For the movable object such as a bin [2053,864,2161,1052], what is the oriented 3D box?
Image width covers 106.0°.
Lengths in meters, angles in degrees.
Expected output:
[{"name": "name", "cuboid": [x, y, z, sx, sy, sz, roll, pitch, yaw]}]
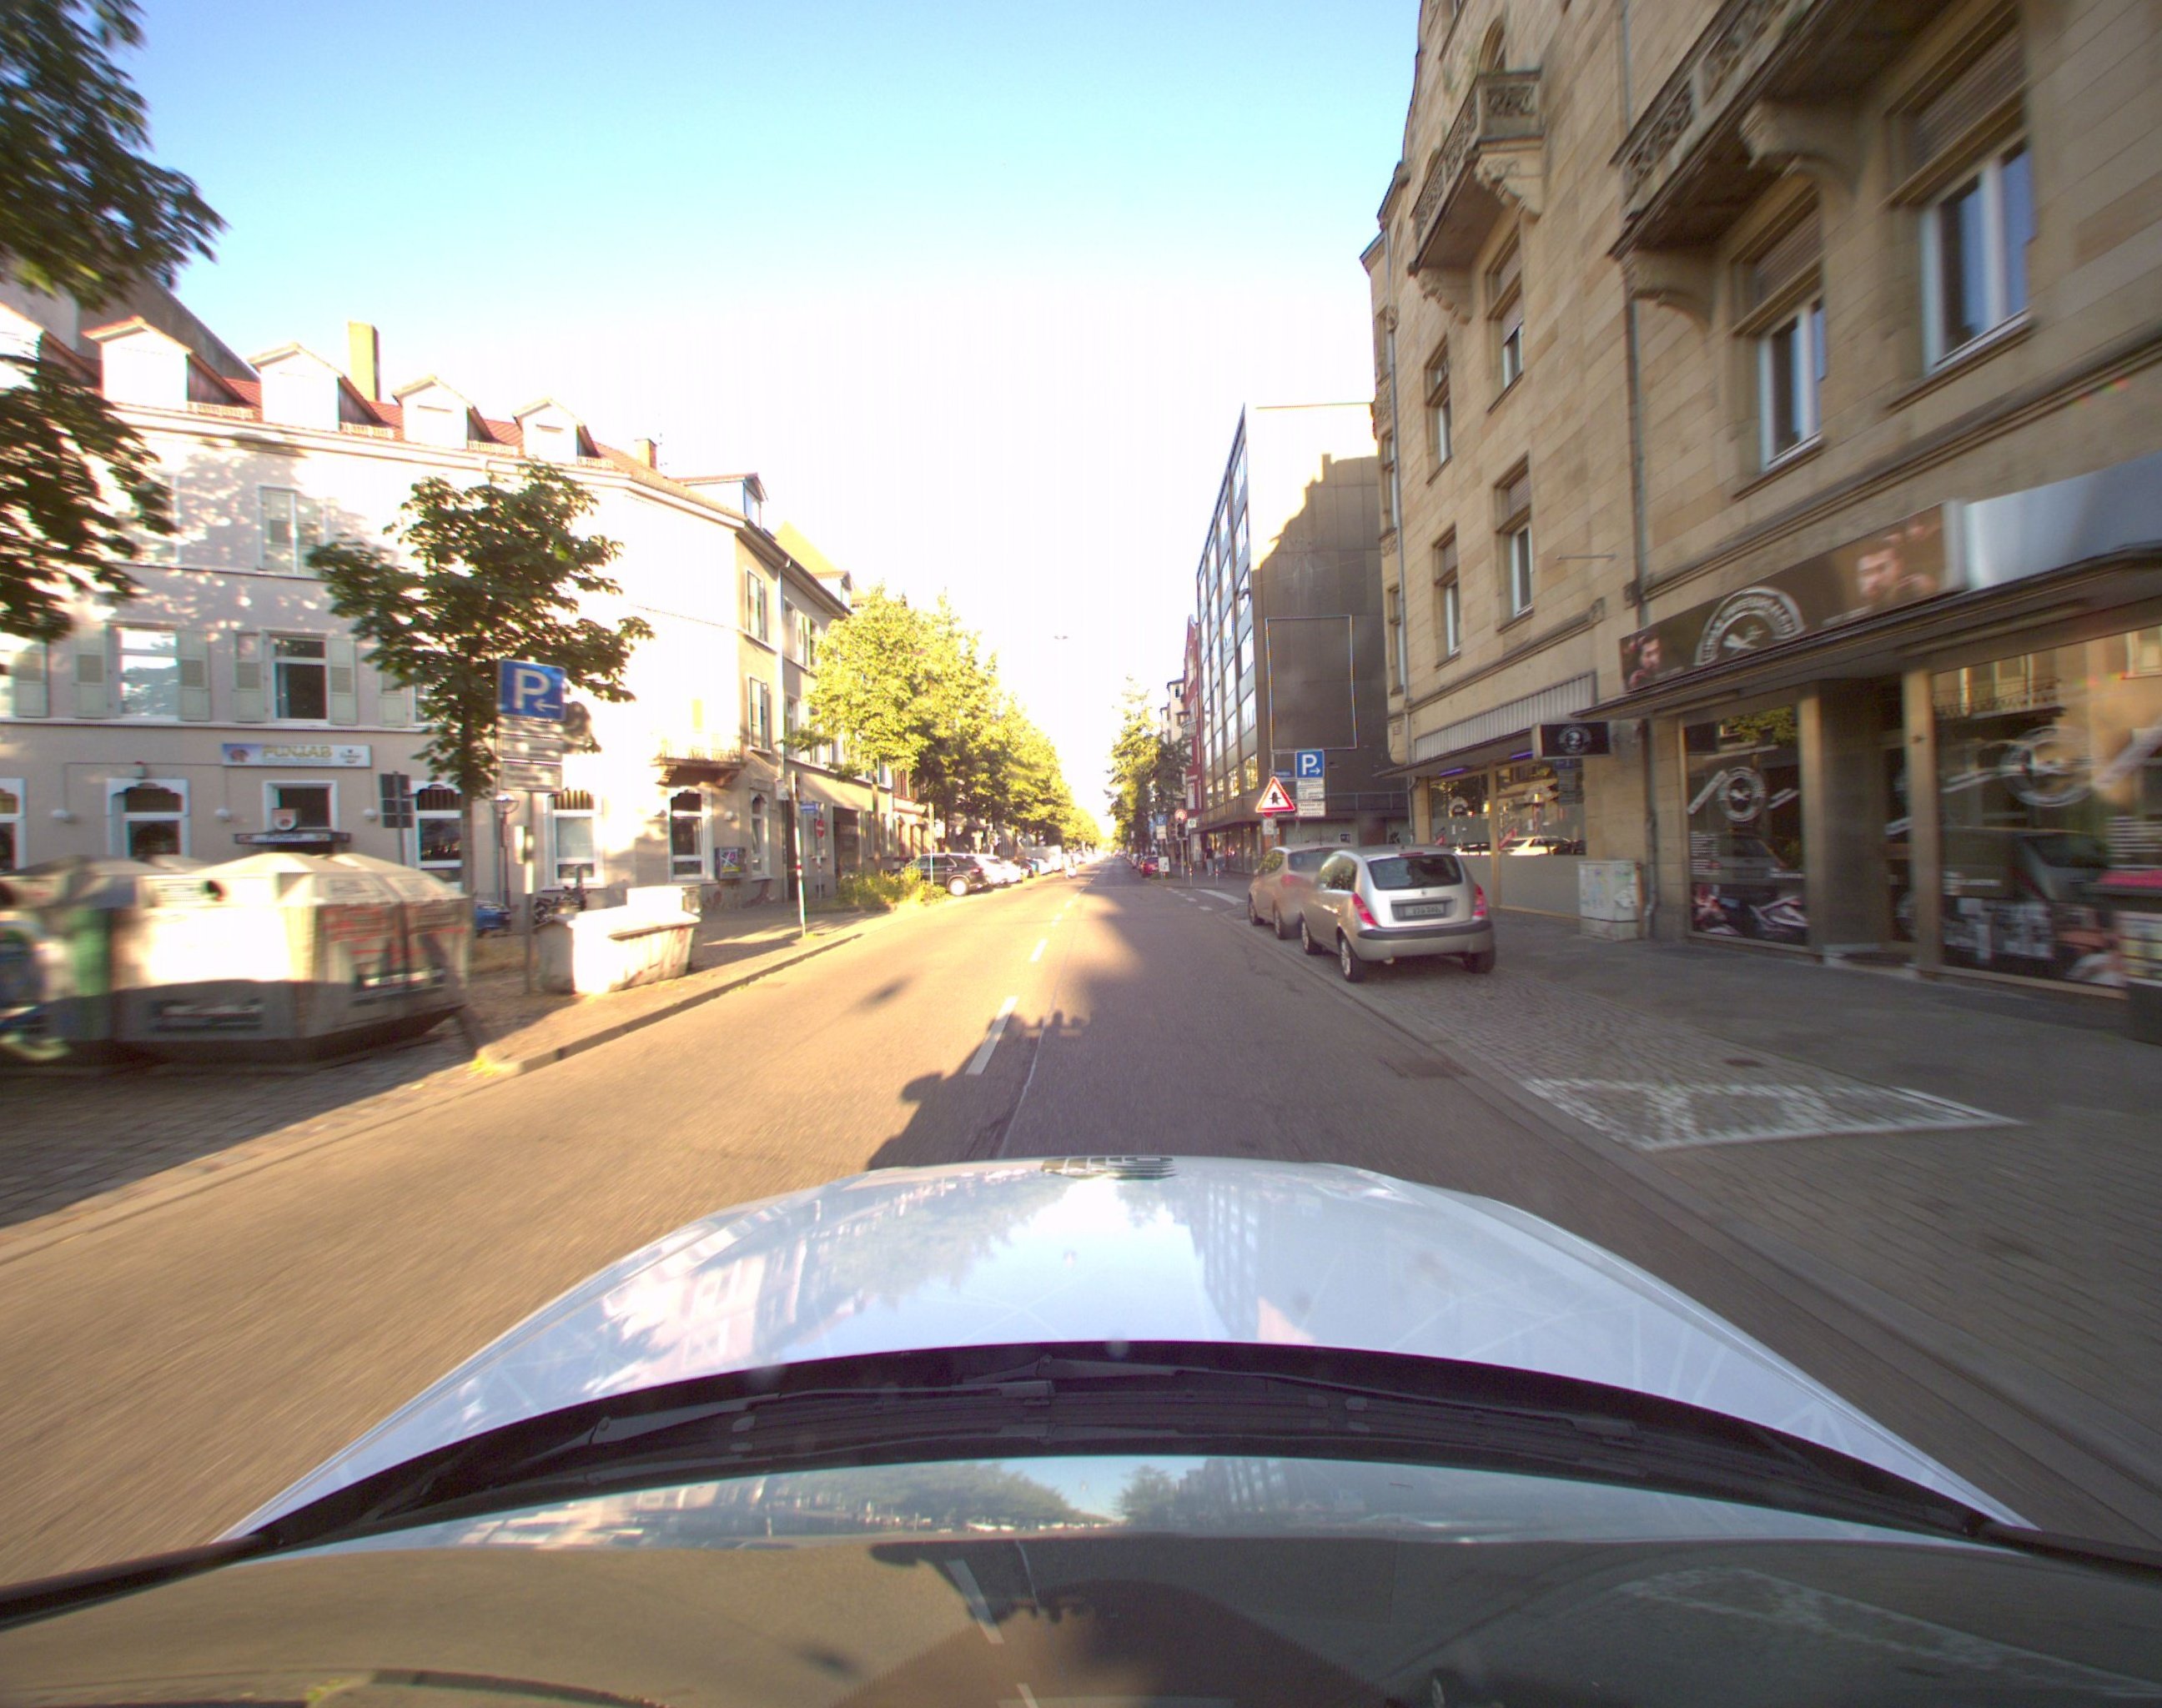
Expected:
[{"name": "movable object such as a bin", "cuboid": [6.647, 0.613, 4.989, 0.593, 1.085, 0.664, -1, 0, 3]}]

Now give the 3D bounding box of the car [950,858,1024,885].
[{"name": "car", "cuboid": [-5.646, 1.043, 49.296, 4.159, 1.507, 2.001, -1, 0, 1]}]

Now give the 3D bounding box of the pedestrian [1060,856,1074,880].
[{"name": "pedestrian", "cuboid": [-0.958, 0.976, 56.455, 0.720, 1.673, 0.702, -1, 0, -38]}]

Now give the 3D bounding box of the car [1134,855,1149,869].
[{"name": "car", "cuboid": [5.870, 0.752, 79.151, 1.202, 1.300, 2.660, -1, -1, 0]}]

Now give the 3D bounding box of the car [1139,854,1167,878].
[{"name": "car", "cuboid": [5.042, 0.838, 57.522, 1.572, 1.542, 3.396, -4, -1, 0]}]

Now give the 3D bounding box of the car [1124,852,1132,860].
[{"name": "car", "cuboid": [9.346, 0.367, 161.538, 1.305, 1.600, 2.660, -1, -1, 0]}]

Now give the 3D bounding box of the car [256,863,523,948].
[{"name": "car", "cuboid": [-16.248, 1.140, 19.486, 4.438, 1.677, 1.945, -2, 1, -24]}]

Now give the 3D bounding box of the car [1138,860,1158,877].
[{"name": "car", "cuboid": [5.281, 1.134, 64.442, 1.300, 1.293, 3.013, -2, -1, 0]}]

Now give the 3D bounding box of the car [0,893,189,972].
[{"name": "car", "cuboid": [-21.555, 1.622, 16.858, 3.838, 1.411, 1.531, -1, 0, -21]}]

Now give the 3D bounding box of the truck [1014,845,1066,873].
[{"name": "truck", "cuboid": [-4.030, 0.481, 80.669, 4.922, 2.615, 2.001, -2, 0, 1]}]

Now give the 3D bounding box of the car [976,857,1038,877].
[{"name": "car", "cuboid": [-5.587, 0.961, 61.682, 4.410, 1.503, 2.001, 0, 0, 1]}]

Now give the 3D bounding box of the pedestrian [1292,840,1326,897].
[{"name": "pedestrian", "cuboid": [7.237, 0.442, 25.920, 0.752, 1.767, 1.223, -1, 0, 1]}]

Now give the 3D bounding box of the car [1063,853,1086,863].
[{"name": "car", "cuboid": [-1.111, 0.643, 138.743, 3.725, 1.708, 2.001, -1, 0, 1]}]

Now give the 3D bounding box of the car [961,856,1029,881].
[{"name": "car", "cuboid": [-5.945, 0.972, 56.746, 4.410, 1.599, 2.001, -2, 0, 1]}]

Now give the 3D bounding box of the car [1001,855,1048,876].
[{"name": "car", "cuboid": [-4.753, 0.999, 69.236, 3.726, 1.596, 2.000, -2, -2, 1]}]

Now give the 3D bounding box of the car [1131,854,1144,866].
[{"name": "car", "cuboid": [6.206, 0.663, 89.658, 1.202, 1.300, 2.660, -1, -1, 0]}]

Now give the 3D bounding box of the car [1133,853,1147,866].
[{"name": "car", "cuboid": [5.963, 0.587, 82.287, 1.202, 1.300, 2.660, -1, -1, 0]}]

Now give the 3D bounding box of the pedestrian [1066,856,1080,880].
[{"name": "pedestrian", "cuboid": [-0.559, 0.973, 57.645, 0.727, 1.683, 0.749, 0, 0, -38]}]

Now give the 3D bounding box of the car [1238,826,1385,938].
[{"name": "car", "cuboid": [4.143, 0.438, 15.291, 1.690, 1.769, 4.002, -2, 0, 2]}]

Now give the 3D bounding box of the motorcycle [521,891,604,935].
[{"name": "motorcycle", "cuboid": [-13.294, 1.485, 20.885, 2.073, 1.031, 0.751, -1, 0, 23]}]

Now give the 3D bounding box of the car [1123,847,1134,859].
[{"name": "car", "cuboid": [6.720, -0.139, 115.779, 1.305, 1.600, 2.660, -1, -1, 0]}]

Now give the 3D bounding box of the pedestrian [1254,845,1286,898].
[{"name": "pedestrian", "cuboid": [6.076, 0.547, 26.209, 0.752, 1.640, 1.259, -1, 0, 1]}]

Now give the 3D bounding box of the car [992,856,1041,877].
[{"name": "car", "cuboid": [-5.218, 1.037, 66.500, 3.725, 1.642, 2.001, -1, 0, 1]}]

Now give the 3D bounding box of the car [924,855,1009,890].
[{"name": "car", "cuboid": [-5.729, 0.916, 41.152, 3.975, 1.708, 1.834, -1, 0, 1]}]

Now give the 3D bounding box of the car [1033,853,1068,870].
[{"name": "car", "cuboid": [-3.370, 0.872, 91.306, 3.725, 1.859, 2.001, -1, 0, 1]}]

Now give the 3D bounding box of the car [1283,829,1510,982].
[{"name": "car", "cuboid": [3.896, 0.539, 10.802, 1.672, 1.561, 4.005, -3, 0, 5]}]

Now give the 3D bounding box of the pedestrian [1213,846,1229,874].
[{"name": "pedestrian", "cuboid": [8.560, 0.345, 49.790, 0.763, 1.689, 0.786, -3, 0, 0]}]

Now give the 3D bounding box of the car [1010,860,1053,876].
[{"name": "car", "cuboid": [-4.506, 1.276, 74.282, 3.725, 1.450, 2.001, -1, 0, 1]}]

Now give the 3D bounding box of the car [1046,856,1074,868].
[{"name": "car", "cuboid": [-2.869, 1.117, 113.518, 3.725, 1.493, 2.001, -1, 0, 1]}]

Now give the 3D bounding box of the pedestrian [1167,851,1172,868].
[{"name": "pedestrian", "cuboid": [8.834, 0.550, 81.281, 0.531, 1.622, 0.534, -1, 0, 2]}]

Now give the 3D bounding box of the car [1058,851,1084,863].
[{"name": "car", "cuboid": [-1.526, 0.397, 120.973, 3.725, 1.708, 2.001, -1, 0, 1]}]

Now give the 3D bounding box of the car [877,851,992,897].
[{"name": "car", "cuboid": [-6.133, 0.833, 34.402, 4.432, 1.835, 2.034, -1, -2, 1]}]

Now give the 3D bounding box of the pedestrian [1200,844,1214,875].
[{"name": "pedestrian", "cuboid": [7.692, 0.330, 49.738, 0.712, 1.865, 0.680, -3, 0, -1]}]

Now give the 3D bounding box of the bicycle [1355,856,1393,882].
[{"name": "bicycle", "cuboid": [12.569, 0.635, 34.997, 0.416, 1.037, 1.761, -3, 1, -24]}]
